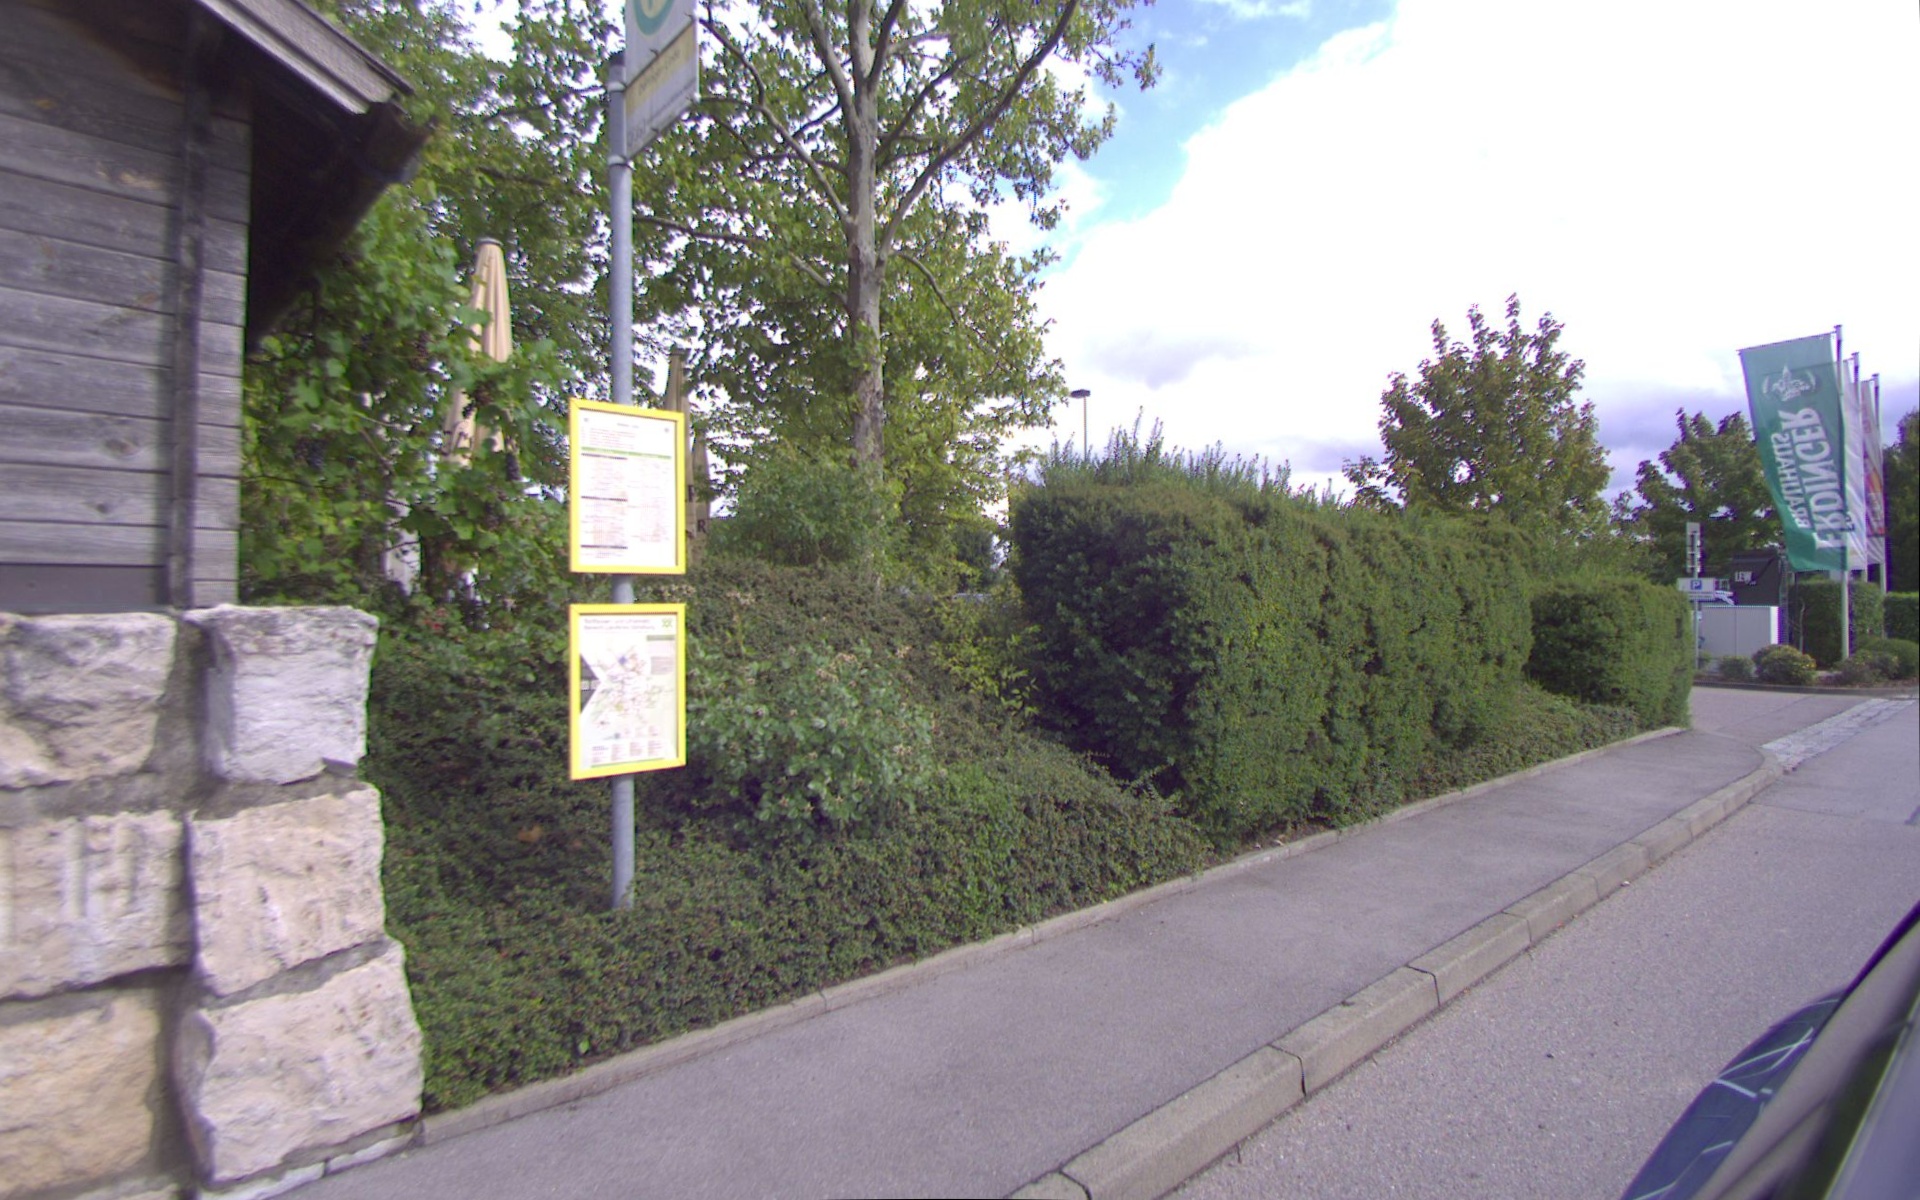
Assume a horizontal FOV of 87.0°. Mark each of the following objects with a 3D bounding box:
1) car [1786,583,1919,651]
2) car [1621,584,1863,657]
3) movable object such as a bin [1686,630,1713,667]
[{"bbox_3d":[24.852,0.435,26.751,1.625,1.738,4.364,0,-1,-33],"label":"car"},{"bbox_3d":[20.393,0.449,26.623,1.880,1.717,4.685,-1,1,-30],"label":"car"},{"bbox_3d":[14.199,0.932,19.437,0.360,0.693,0.289,0,-1,-30],"label":"movable object such as a bin"}]
